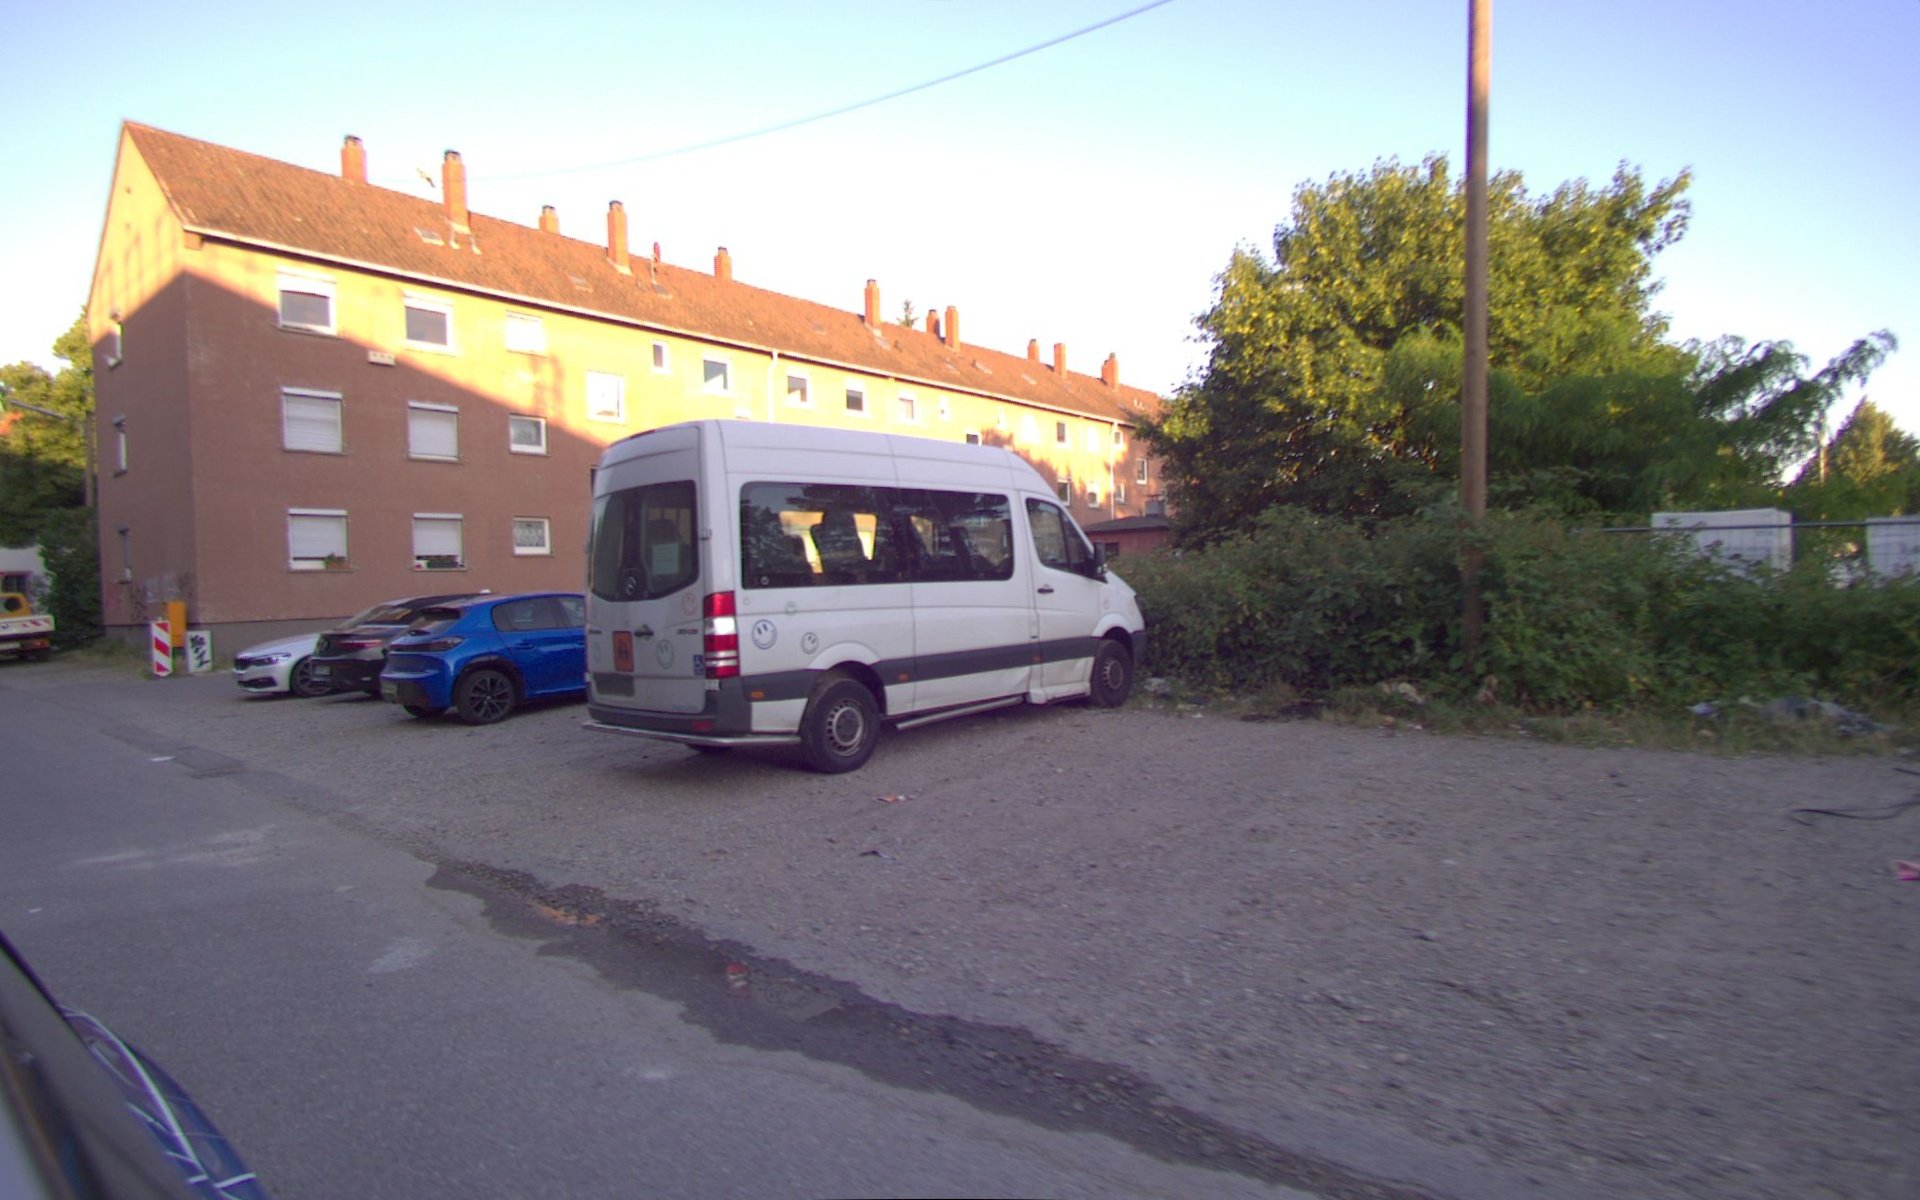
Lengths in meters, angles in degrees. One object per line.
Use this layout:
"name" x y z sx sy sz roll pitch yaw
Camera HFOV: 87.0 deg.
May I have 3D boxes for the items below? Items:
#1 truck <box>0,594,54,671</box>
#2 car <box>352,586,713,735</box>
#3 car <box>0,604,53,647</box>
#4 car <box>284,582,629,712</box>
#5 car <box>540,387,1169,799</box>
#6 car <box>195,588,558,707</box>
"truck" -26.917 0.881 27.945 5.657 1.927 2.014 -1 2 41
"car" -5.209 0.630 12.739 1.725 1.440 3.801 -1 2 38
"car" -40.683 1.123 41.319 1.815 1.676 5.237 -1 1 40
"car" -7.490 0.597 15.474 1.725 1.556 4.376 -1 2 37
"car" -0.558 -0.159 9.326 2.222 2.645 5.628 -1 2 43
"car" -9.788 0.691 17.407 2.112 1.556 4.949 -1 2 36
